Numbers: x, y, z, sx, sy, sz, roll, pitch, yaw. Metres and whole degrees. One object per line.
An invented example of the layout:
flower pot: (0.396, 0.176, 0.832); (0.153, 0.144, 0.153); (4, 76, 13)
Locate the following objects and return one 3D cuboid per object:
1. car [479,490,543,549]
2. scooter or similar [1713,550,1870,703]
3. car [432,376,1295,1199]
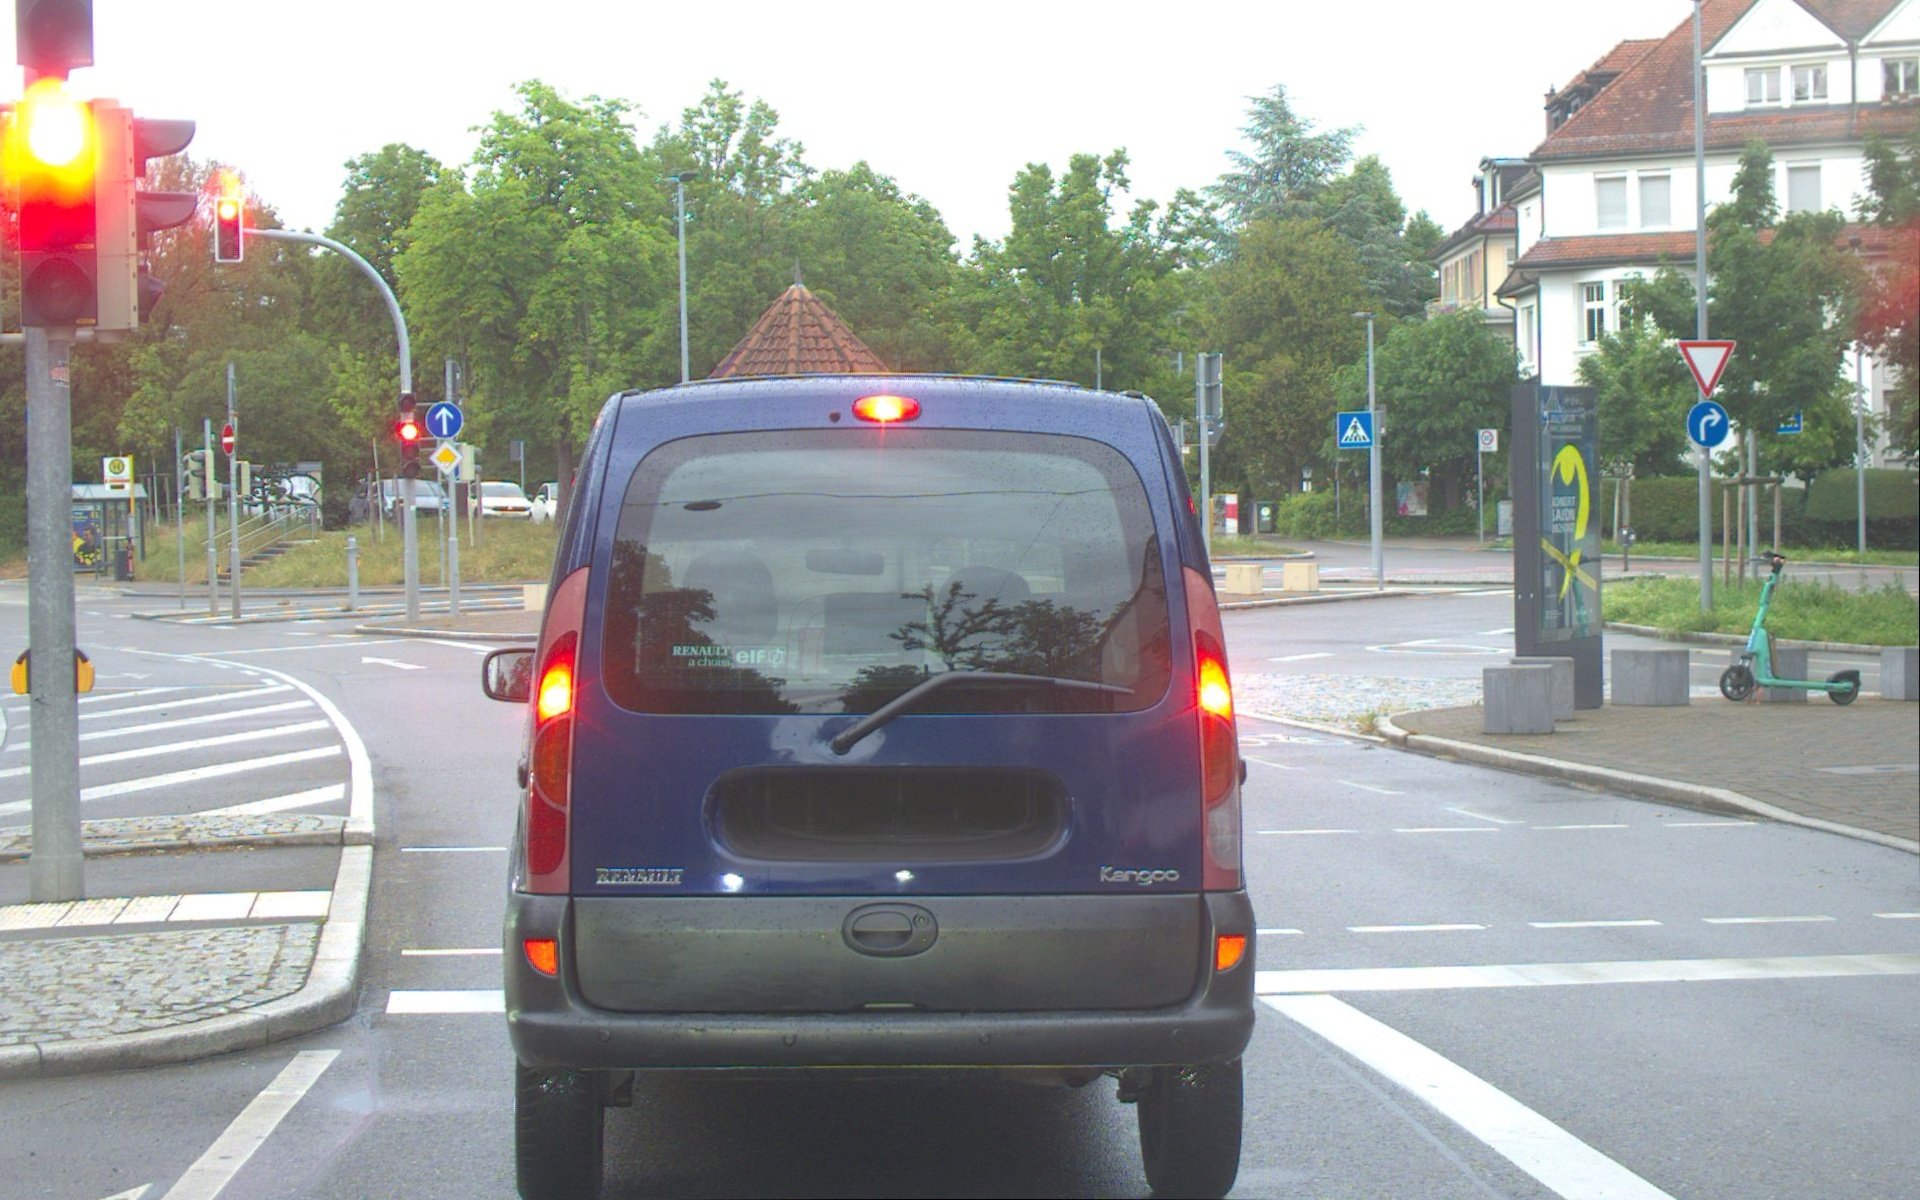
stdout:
car: (-14.347, -2.557, 109.757); (1.993, 1.806, 4.001); (0, 0, -8)
scooter or similar: (6.716, 0.213, 27.780); (1.149, 1.214, 0.406); (-1, 0, -1)
car: (-0.275, 0.396, 8.907); (1.731, 1.780, 4.001); (0, 1, -2)
